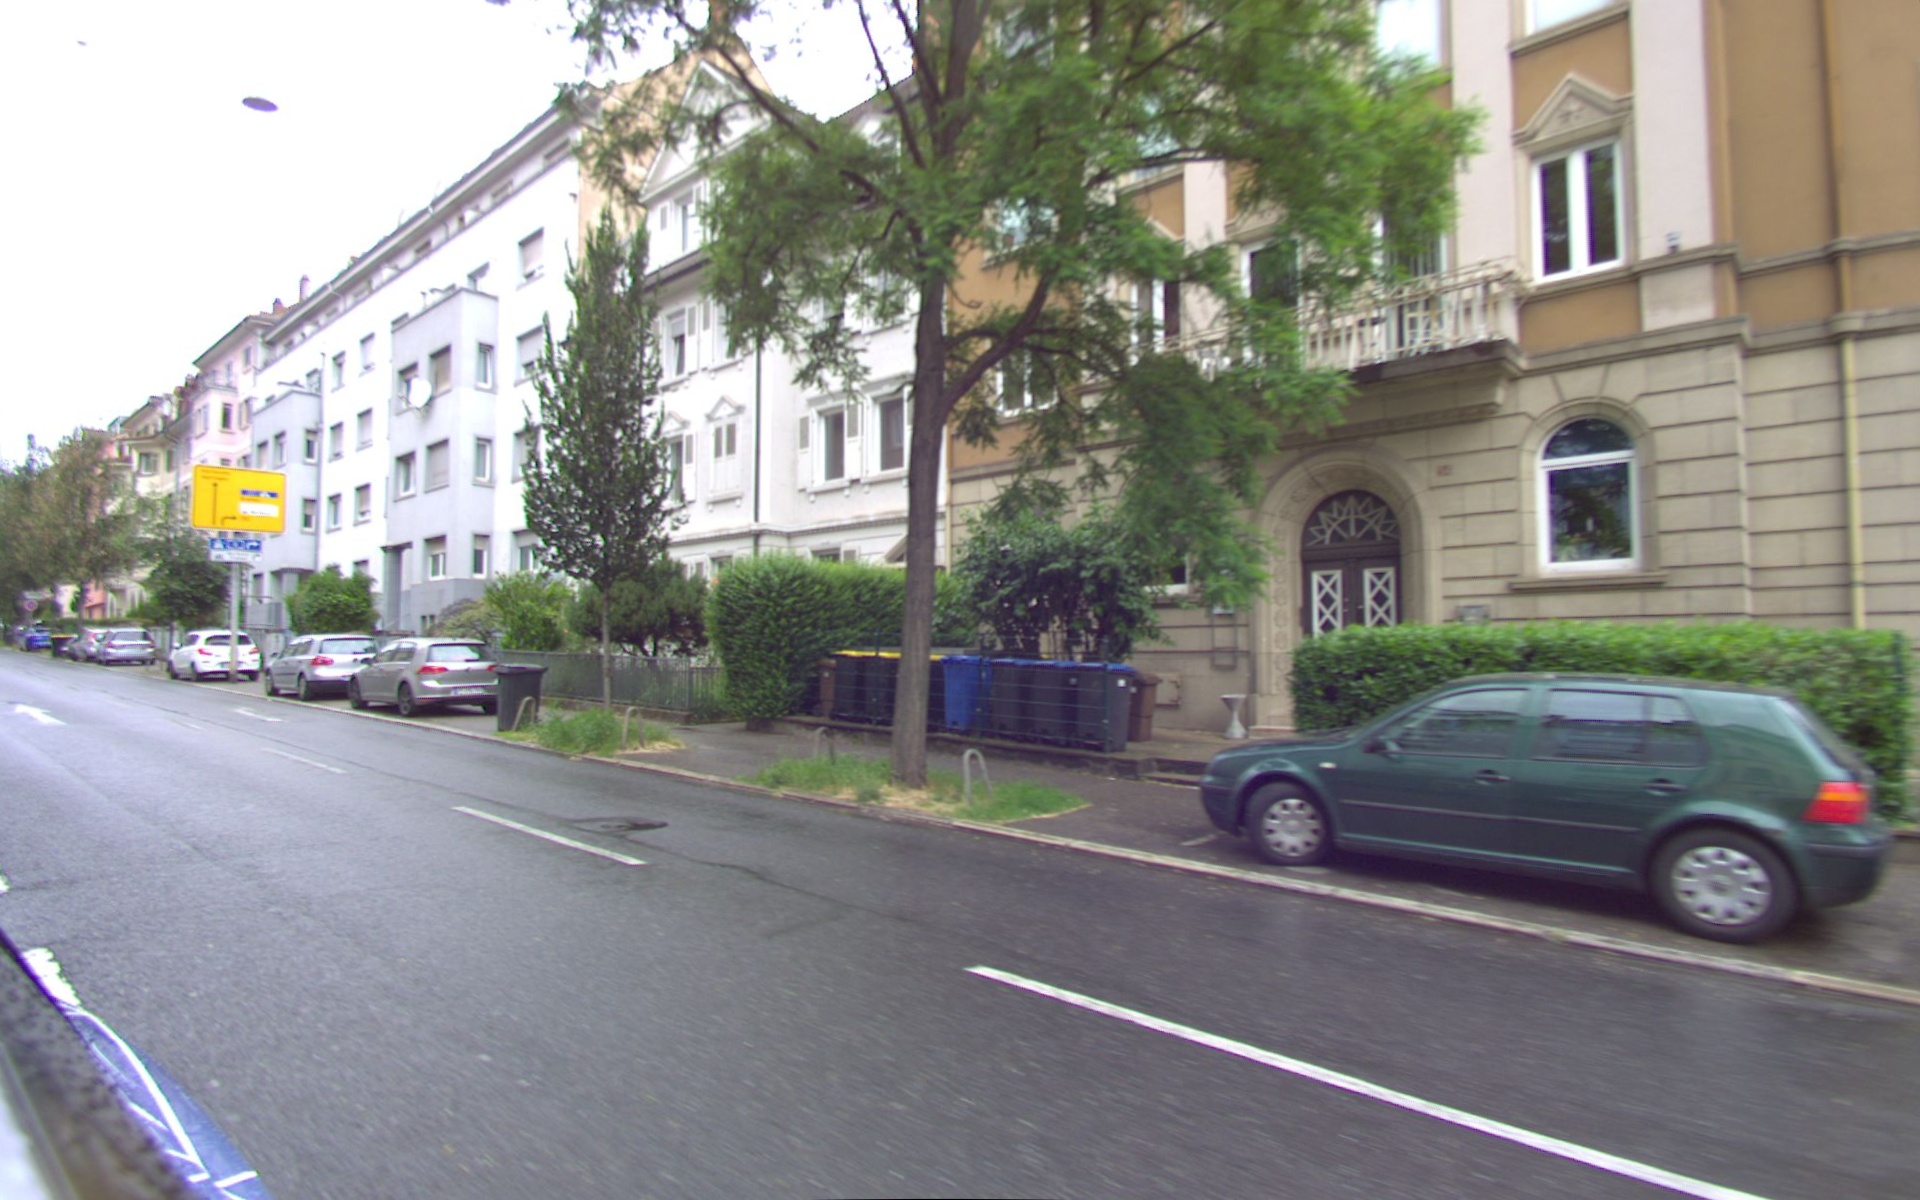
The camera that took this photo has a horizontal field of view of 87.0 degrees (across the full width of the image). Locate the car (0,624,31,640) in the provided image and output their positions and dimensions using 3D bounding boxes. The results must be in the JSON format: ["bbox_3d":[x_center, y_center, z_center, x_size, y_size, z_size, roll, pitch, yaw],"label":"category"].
[{"bbox_3d":[-104.047,3.428,110.280,1.592,1.634,3.876,0,-3,42],"label":"car"}]

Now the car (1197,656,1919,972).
[{"bbox_3d":[3.776,1.153,6.852,3.939,1.465,1.637,-1,-3,40],"label":"car"}]

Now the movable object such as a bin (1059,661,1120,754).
[{"bbox_3d":[1.581,1.294,12.339,0.589,1.089,0.435,-2,-3,41],"label":"movable object such as a bin"}]

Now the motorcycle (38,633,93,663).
[{"bbox_3d":[-41.806,2.246,47.315,1.783,1.325,0.743,1,-3,-7],"label":"motorcycle"}]

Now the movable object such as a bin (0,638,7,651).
[{"bbox_3d":[-63.179,2.937,66.791,0.572,0.896,0.360,-1,-1,41],"label":"movable object such as a bin"}]

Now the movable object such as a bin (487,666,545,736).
[{"bbox_3d":[-7.119,1.599,16.224,0.600,1.066,0.623,0,-3,42],"label":"movable object such as a bin"}]

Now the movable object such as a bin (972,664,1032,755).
[{"bbox_3d":[0.546,1.416,13.249,0.657,1.139,0.435,-2,-3,41],"label":"movable object such as a bin"}]

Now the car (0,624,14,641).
[{"bbox_3d":[-109.357,3.682,114.026,1.866,1.861,3.880,0,-1,39],"label":"car"}]

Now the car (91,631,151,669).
[{"bbox_3d":[-34.293,2.017,41.347,1.582,1.462,3.890,1,-2,-44],"label":"car"}]

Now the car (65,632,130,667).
[{"bbox_3d":[-37.933,2.161,44.497,3.886,1.407,1.584,0,-2,41],"label":"car"}]

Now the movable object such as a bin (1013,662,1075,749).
[{"bbox_3d":[1.062,1.317,12.798,0.650,1.049,0.421,-2,-3,41],"label":"movable object such as a bin"}]

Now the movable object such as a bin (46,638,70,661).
[{"bbox_3d":[-43.856,2.405,49.220,0.483,1.066,0.816,0,1,43],"label":"movable object such as a bin"}]

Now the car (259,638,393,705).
[{"bbox_3d":[-14.802,1.604,23.548,3.908,1.401,1.664,-2,-2,42],"label":"car"}]

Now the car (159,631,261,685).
[{"bbox_3d":[-22.714,1.718,30.613,3.794,1.519,1.629,-1,-3,41],"label":"car"}]

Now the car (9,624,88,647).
[{"bbox_3d":[-76.381,2.955,84.889,1.917,1.919,4.671,0,-1,40],"label":"car"}]

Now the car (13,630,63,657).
[{"bbox_3d":[-53.373,2.503,58.570,4.602,1.396,1.661,0,-2,42],"label":"car"}]

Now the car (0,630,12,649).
[{"bbox_3d":[-74.610,3.047,78.143,4.137,1.428,1.663,-1,-4,42],"label":"car"}]

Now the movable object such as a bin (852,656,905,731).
[{"bbox_3d":[-1.190,1.352,14.797,0.649,1.047,0.435,-2,-3,41],"label":"movable object such as a bin"}]

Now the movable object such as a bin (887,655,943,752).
[{"bbox_3d":[-0.632,1.440,14.250,0.649,1.319,0.435,-2,-3,41],"label":"movable object such as a bin"}]

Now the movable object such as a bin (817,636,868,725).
[{"bbox_3d":[-1.782,1.214,15.380,0.649,1.309,0.435,-2,-3,41],"label":"movable object such as a bin"}]

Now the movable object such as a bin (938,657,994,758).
[{"bbox_3d":[0.082,1.436,13.747,0.609,1.319,0.435,-2,-3,41],"label":"movable object such as a bin"}]

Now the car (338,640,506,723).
[{"bbox_3d":[-10.580,1.522,19.800,3.935,1.401,1.664,-1,-2,42],"label":"car"}]

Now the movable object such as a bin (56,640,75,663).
[{"bbox_3d":[-42.863,2.463,48.491,0.480,1.066,0.522,0,0,20],"label":"movable object such as a bin"}]
